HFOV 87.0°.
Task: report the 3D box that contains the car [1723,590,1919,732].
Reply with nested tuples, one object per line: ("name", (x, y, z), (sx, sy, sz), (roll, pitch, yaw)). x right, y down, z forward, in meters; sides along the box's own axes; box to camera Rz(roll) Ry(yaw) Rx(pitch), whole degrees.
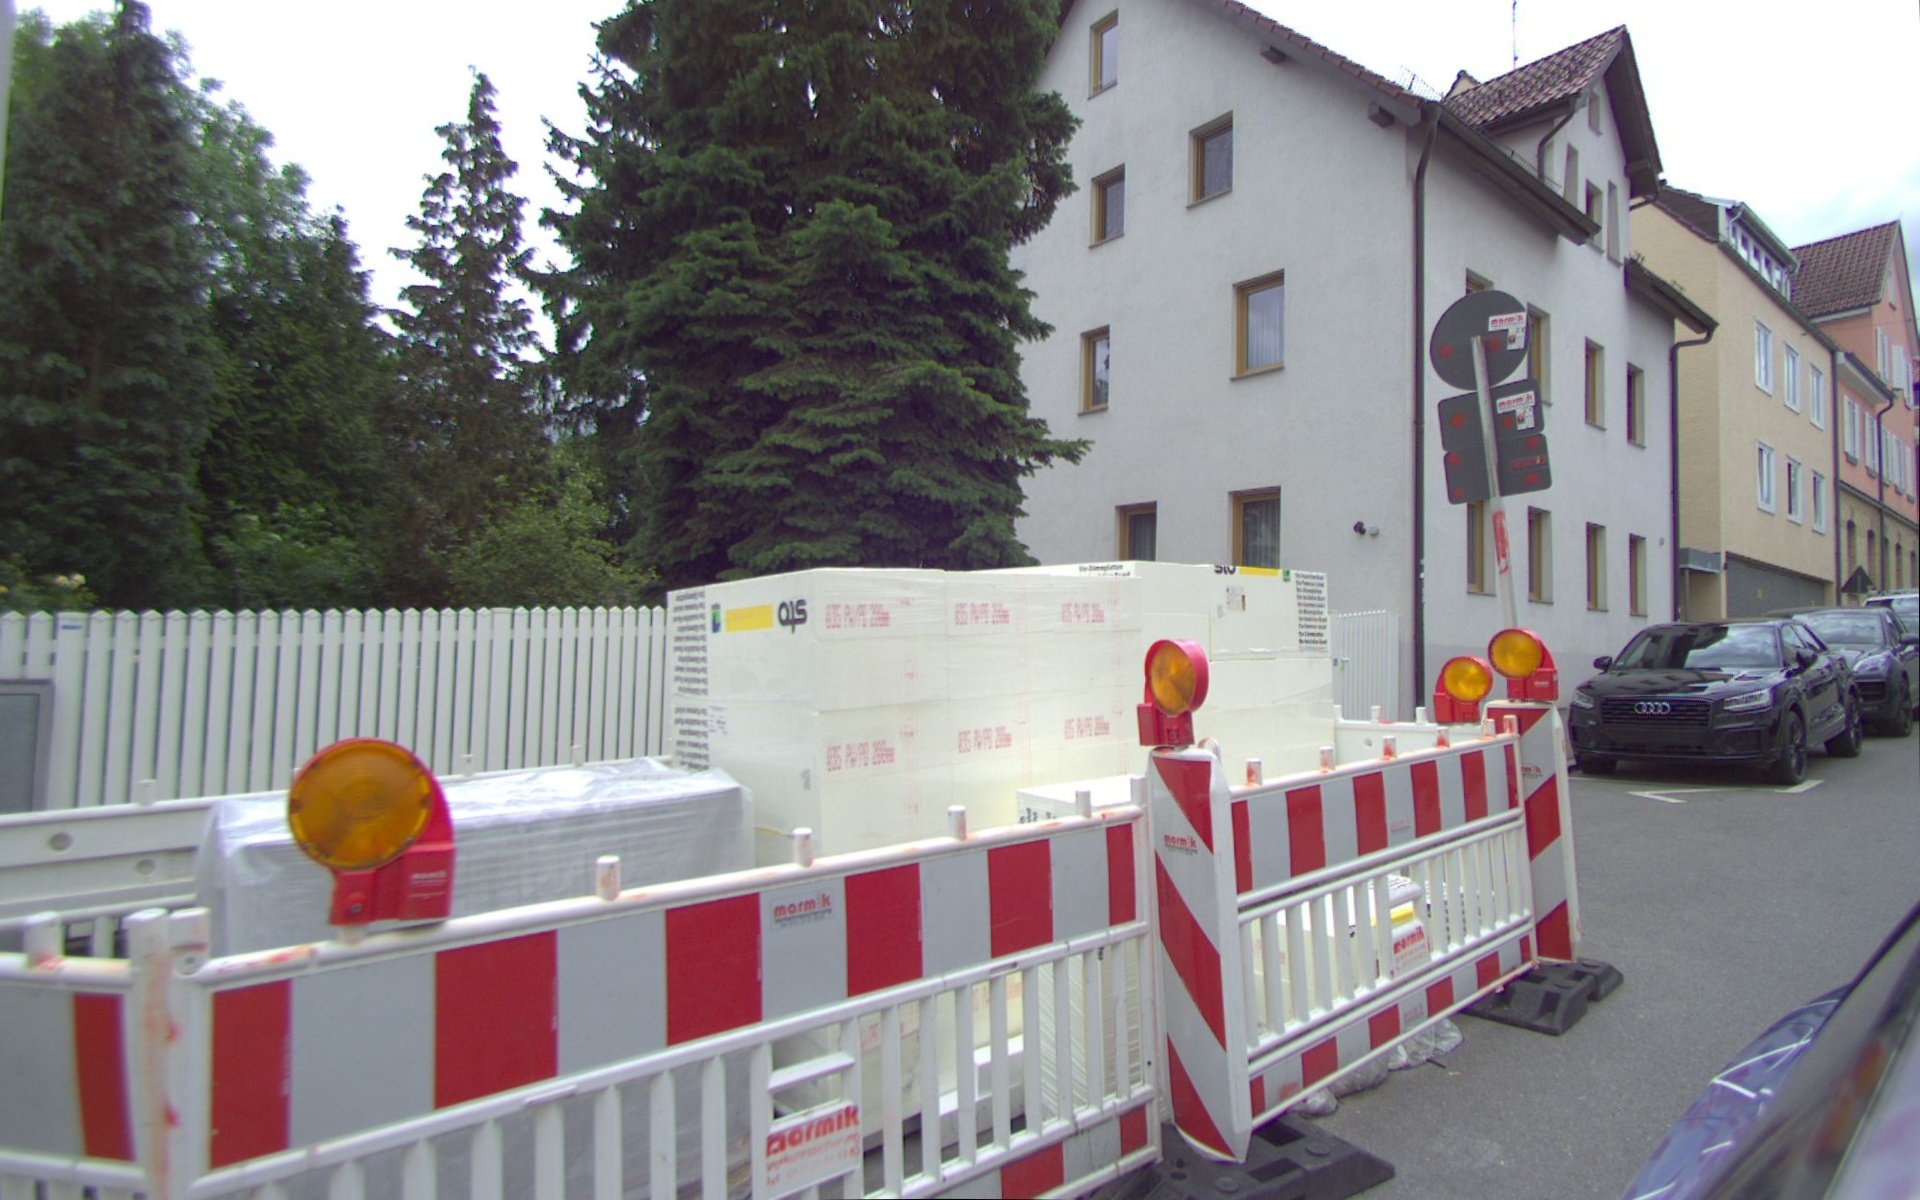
("car", (12.015, 0.757, 13.682), (4.418, 1.617, 1.715), (1, -3, -40))

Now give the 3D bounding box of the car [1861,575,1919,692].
("car", (19.336, 0.610, 19.575), (5.629, 2.056, 1.909), (1, -3, -39))

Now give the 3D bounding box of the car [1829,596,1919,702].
("car", (15.441, 0.772, 16.466), (2.741, 1.617, 1.489), (1, -4, -40))

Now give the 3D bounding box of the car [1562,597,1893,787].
("car", (7.978, 0.823, 10.410), (3.999, 1.586, 1.718), (1, -3, -39))
